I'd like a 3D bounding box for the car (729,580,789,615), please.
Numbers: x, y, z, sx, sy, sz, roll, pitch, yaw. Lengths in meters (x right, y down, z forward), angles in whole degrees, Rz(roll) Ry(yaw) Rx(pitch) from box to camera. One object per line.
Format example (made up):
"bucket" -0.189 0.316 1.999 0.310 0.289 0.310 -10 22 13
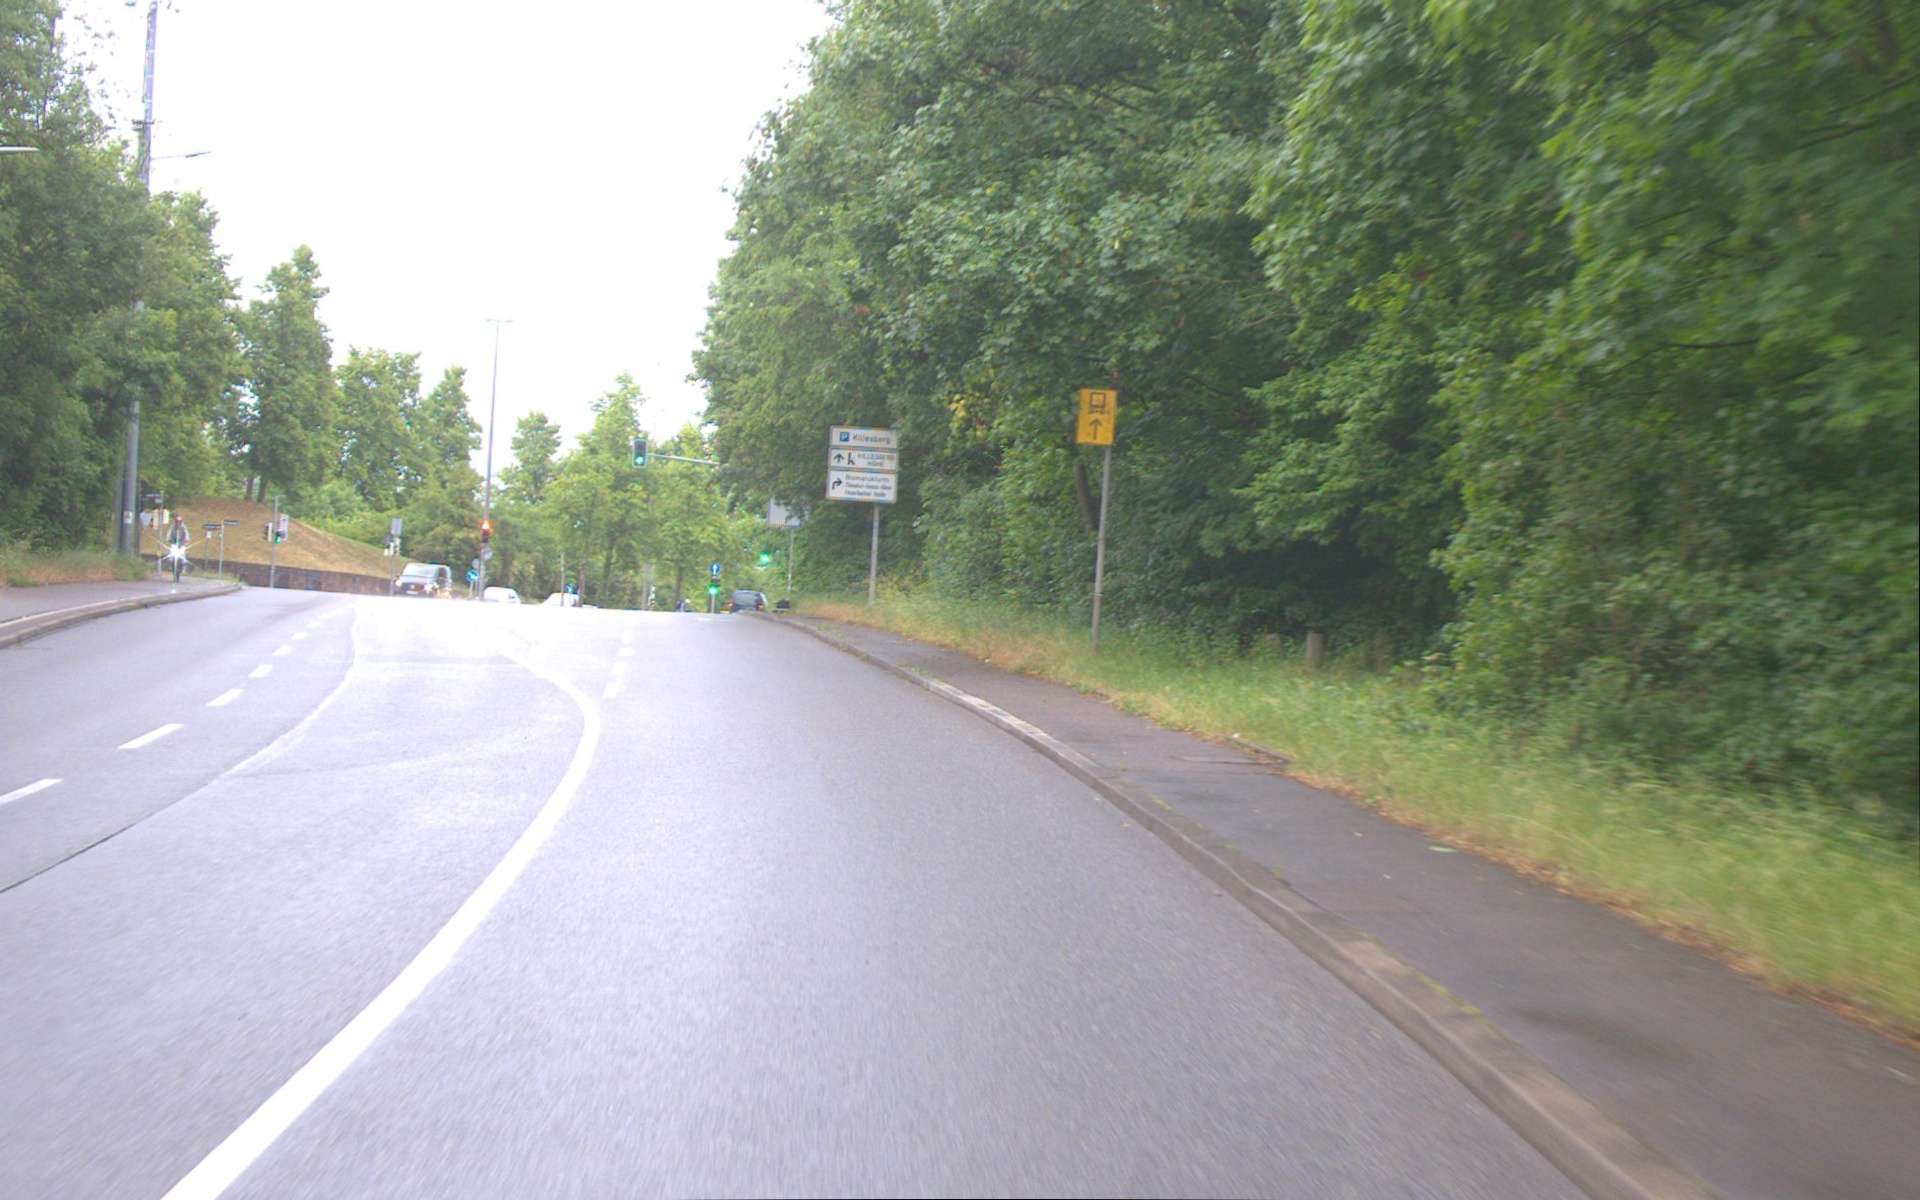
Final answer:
"car" -9.277 -0.123 159.065 1.936 1.493 4.316 2 1 8

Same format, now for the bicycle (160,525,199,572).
"bicycle" -21.135 -1.406 93.093 0.704 1.238 2.164 1 1 -4

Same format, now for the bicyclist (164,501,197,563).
"bicyclist" -21.116 -1.842 93.093 0.704 1.639 0.951 1 1 -4

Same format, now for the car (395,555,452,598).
"car" -24.499 -1.061 157.046 1.993 1.842 4.000 1 -1 0
